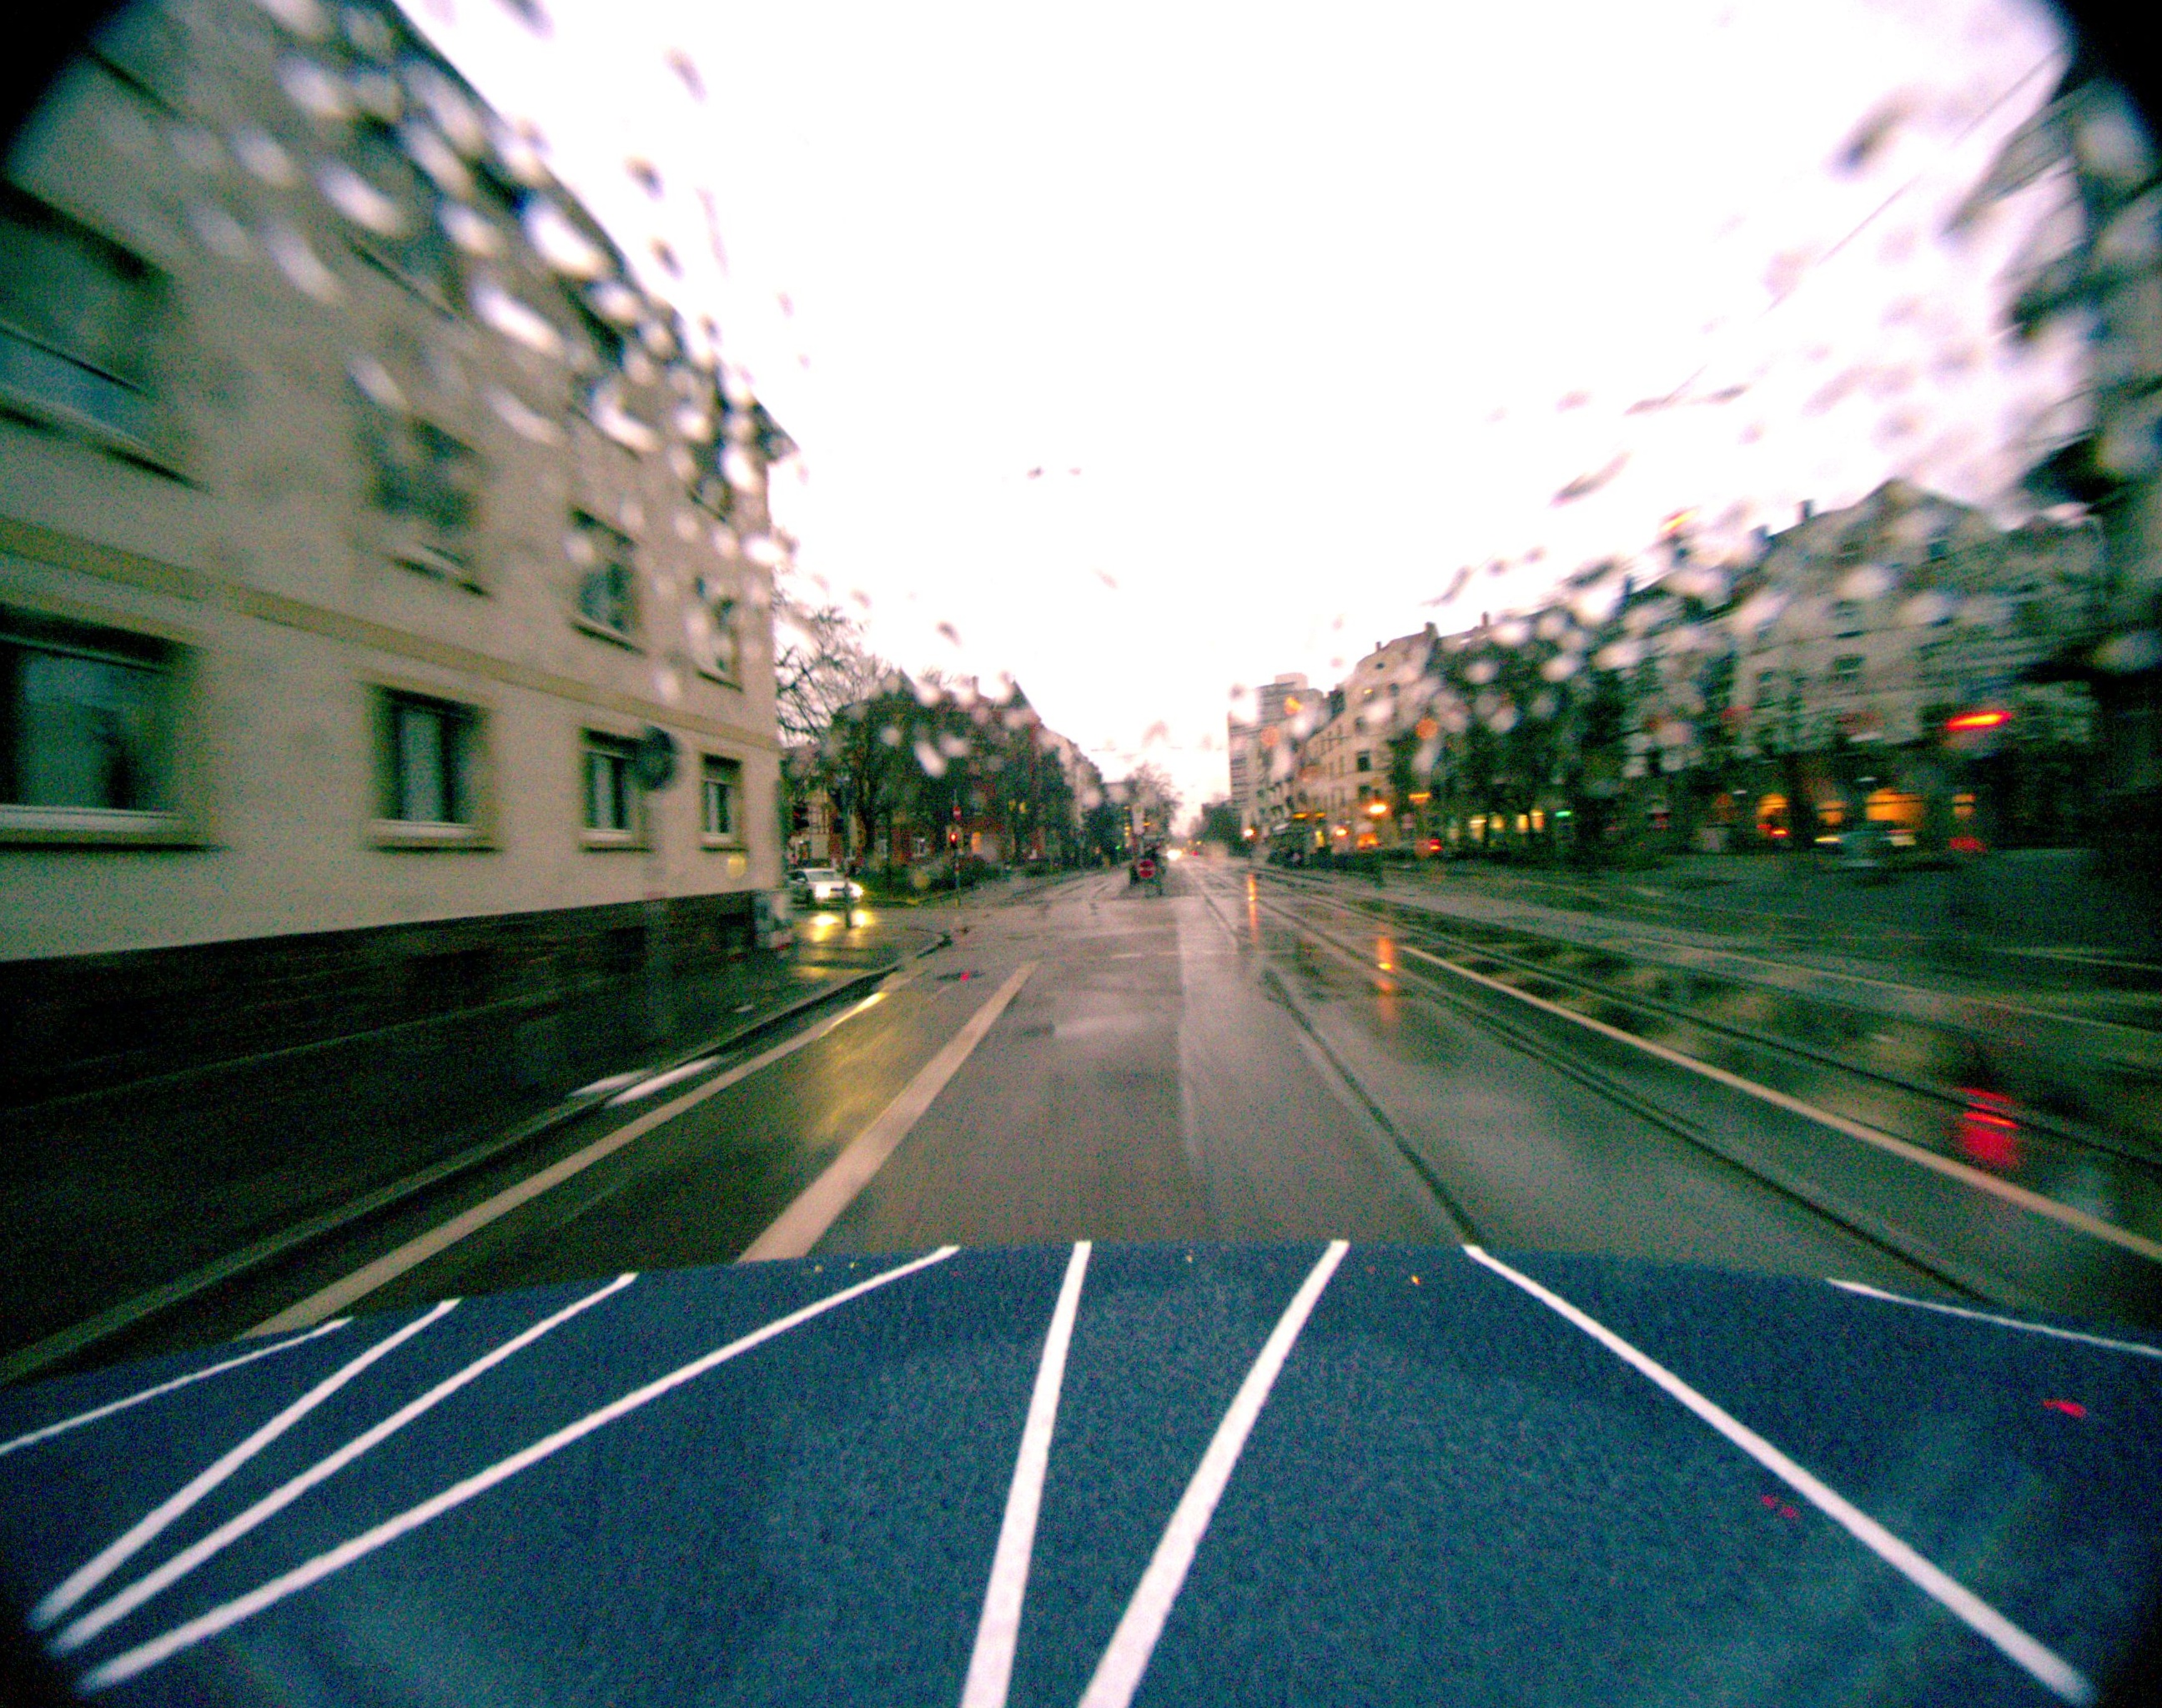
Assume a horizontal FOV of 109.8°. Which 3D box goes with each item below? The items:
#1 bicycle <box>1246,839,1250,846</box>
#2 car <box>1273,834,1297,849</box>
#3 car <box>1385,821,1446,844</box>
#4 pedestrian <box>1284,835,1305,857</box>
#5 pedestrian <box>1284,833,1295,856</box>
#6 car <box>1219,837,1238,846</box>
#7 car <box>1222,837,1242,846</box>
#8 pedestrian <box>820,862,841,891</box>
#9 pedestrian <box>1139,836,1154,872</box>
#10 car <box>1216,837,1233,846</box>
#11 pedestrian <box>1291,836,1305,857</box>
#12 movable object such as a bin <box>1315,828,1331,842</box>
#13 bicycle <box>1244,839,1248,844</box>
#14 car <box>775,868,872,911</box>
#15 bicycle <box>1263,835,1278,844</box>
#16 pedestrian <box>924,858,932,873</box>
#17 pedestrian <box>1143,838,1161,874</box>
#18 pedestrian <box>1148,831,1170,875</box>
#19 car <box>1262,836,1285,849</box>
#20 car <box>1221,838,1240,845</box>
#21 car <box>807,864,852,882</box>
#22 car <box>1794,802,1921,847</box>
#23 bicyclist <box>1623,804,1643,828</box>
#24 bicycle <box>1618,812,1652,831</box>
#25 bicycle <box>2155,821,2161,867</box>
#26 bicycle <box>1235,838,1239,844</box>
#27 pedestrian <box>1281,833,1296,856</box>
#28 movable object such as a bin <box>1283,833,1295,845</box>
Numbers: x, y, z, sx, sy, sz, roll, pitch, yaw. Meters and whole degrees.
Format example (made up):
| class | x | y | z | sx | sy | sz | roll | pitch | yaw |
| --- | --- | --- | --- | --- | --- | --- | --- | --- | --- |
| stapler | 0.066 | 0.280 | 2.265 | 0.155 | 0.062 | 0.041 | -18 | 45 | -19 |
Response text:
| class | x | y | z | sx | sy | sz | roll | pitch | yaw |
| --- | --- | --- | --- | --- | --- | --- | --- | --- | --- |
| bicycle | 26.526 | -1.821 | 120.663 | 0.530 | 0.934 | 2.087 | -7 | 0 | 11 |
| car | 23.457 | -1.408 | 87.439 | 1.676 | 1.507 | 3.679 | -7 | 0 | 1 |
| car | 27.449 | -1.776 | 62.406 | 4.333 | 1.574 | 1.940 | -3 | 1 | 29 |
| pedestrian | 13.154 | -0.498 | 46.738 | 1.058 | 1.247 | 0.506 | -7 | 1 | 7 |
| pedestrian | 13.068 | -0.580 | 47.687 | 0.474 | 1.395 | 0.453 | -7 | 1 | 7 |
| car | 31.471 | -2.712 | 162.282 | 3.838 | 1.405 | 1.728 | -7 | 1 | 8 |
| car | 31.198 | -2.576 | 156.793 | 3.838 | 1.405 | 1.728 | -4 | 1 | 7 |
| pedestrian | -16.629 | 1.477 | 50.462 | 0.876 | 1.853 | 0.816 | -3 | 1 | 34 |
| pedestrian | 3.448 | -0.007 | 40.074 | 0.558 | 1.797 | 0.571 | -7 | 1 | 8 |
| car | 33.800 | -3.040 | 178.841 | 3.838 | 1.707 | 1.728 | -7 | 0 | 8 |
| pedestrian | 13.157 | -0.463 | 46.067 | 0.654 | 1.211 | 0.517 | -7 | 1 | 7 |
| movable object such as a bin | 27.485 | -2.168 | 86.439 | 1.352 | 1.364 | 1.281 | -7 | 1 | 6 |
| bicycle | 27.239 | -2.031 | 125.427 | 0.530 | 0.884 | 2.211 | -3 | 0 | 11 |
| car | -10.475 | 1.376 | 30.686 | 1.903 | 1.501 | 4.741 | -4 | 1 | -42 |
| bicycle | 28.560 | -2.183 | 114.350 | 1.988 | 1.152 | 0.531 | -7 | 1 | 6 |
| pedestrian | -14.208 | 1.081 | 70.628 | 0.546 | 1.309 | 0.608 | -5 | 0 | -5 |
| pedestrian | 3.445 | 0.085 | 37.037 | 0.659 | 1.698 | 0.571 | -7 | 1 | 8 |
| pedestrian | 3.578 | -0.055 | 34.799 | 0.688 | 1.906 | 0.717 | -7 | 1 | -4 |
| car | 23.451 | -1.367 | 92.842 | 1.806 | 1.382 | 4.509 | -7 | 0 | 4 |
| car | 31.331 | -2.621 | 159.471 | 3.838 | 1.405 | 1.728 | -3 | 1 | 7 |
| car | -24.219 | 1.837 | 73.185 | 3.990 | 1.487 | 1.650 | -3 | 1 | 27 |
| car | 35.824 | -1.336 | 35.130 | 1.883 | 1.761 | 3.853 | -4 | 1 | -38 |
| bicyclist | 33.231 | -2.280 | 45.725 | 0.530 | 1.356 | 0.765 | -6 | 1 | -7 |
| bicycle | 33.271 | -1.933 | 45.662 | 0.492 | 1.001 | 1.810 | -5 | 1 | -7 |
| bicycle | 17.699 | -0.131 | 12.046 | 0.400 | 0.754 | 1.814 | -3 | 1 | 43 |
| bicycle | 28.665 | -2.431 | 139.877 | 0.435 | 1.001 | 1.882 | -7 | 0 | 8 |
| pedestrian | 13.129 | -0.592 | 48.177 | 0.685 | 1.395 | 0.578 | -7 | 1 | 7 |
| movable object such as a bin | 27.022 | -1.937 | 98.728 | 1.239 | 1.423 | 1.074 | -7 | 1 | 6 |
